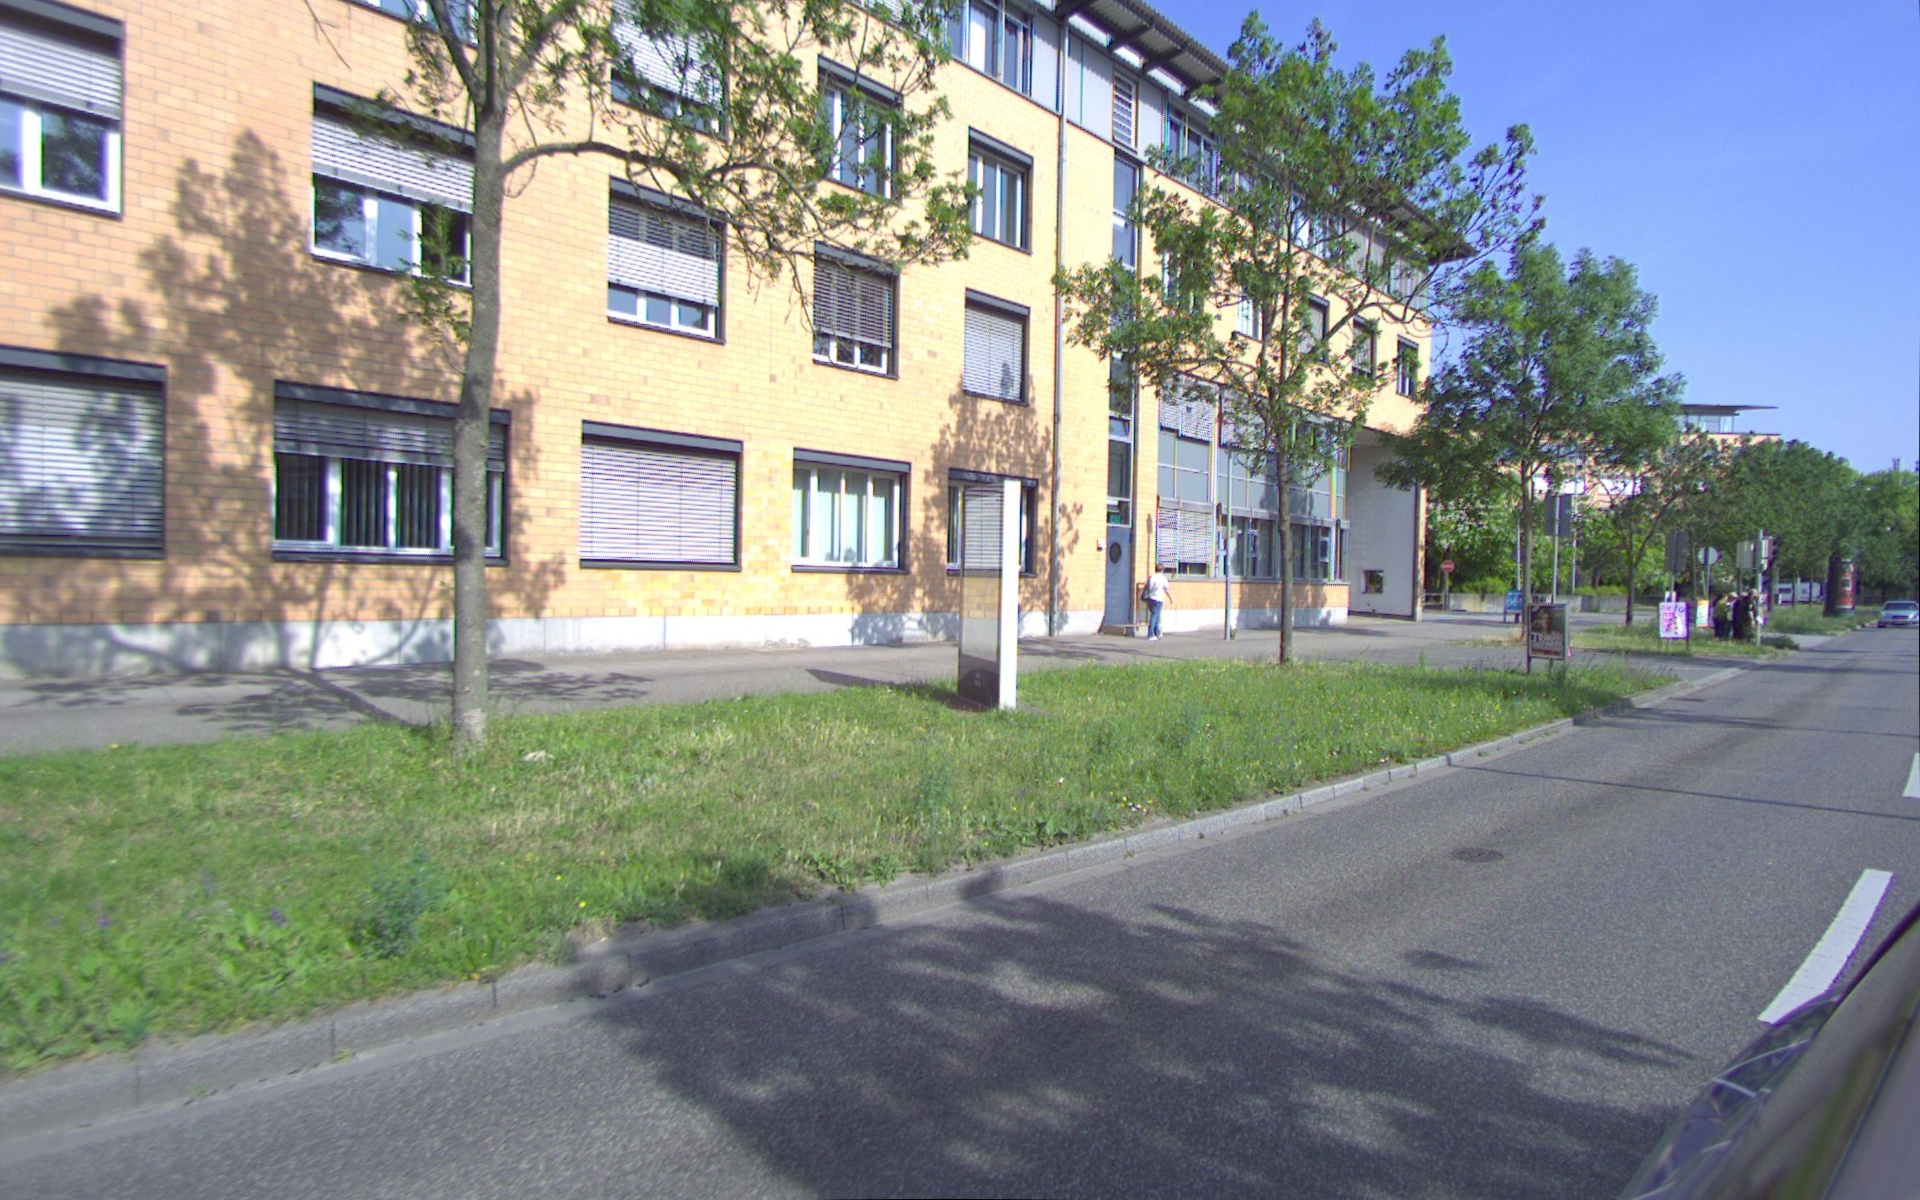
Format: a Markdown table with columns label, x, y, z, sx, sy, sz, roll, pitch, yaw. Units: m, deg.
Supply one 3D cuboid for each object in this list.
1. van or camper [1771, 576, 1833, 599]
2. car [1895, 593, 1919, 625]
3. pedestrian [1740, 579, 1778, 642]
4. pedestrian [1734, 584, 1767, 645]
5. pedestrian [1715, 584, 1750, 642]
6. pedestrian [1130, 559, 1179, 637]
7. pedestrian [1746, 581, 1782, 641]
| label | x | y | z | sx | sy | sz | roll | pitch | yaw |
| --- | --- | --- | --- | --- | --- | --- | --- | --- | --- |
| van or camper | 104.432 | -1.501 | 125.551 | 5.782 | 2.727 | 2.372 | 0 | 0 | 43 |
| car | 48.609 | 0.439 | 51.361 | 1.624 | 1.504 | 3.314 | -1 | 0 | 43 |
| pedestrian | 21.739 | 0.276 | 27.539 | 0.705 | 1.667 | 0.678 | 4 | 3 | 43 |
| pedestrian | 22.371 | 0.401 | 28.624 | 0.634 | 1.667 | 0.600 | 4 | 3 | 41 |
| pedestrian | 23.049 | 0.384 | 30.191 | 0.705 | 1.667 | 0.678 | 4 | 3 | 43 |
| pedestrian | 4.277 | -0.059 | 22.267 | 0.760 | 1.677 | 0.696 | -1 | 3 | -45 |
| pedestrian | 23.077 | 0.290 | 29.052 | 0.705 | 1.667 | 0.679 | 4 | 3 | 42 |
